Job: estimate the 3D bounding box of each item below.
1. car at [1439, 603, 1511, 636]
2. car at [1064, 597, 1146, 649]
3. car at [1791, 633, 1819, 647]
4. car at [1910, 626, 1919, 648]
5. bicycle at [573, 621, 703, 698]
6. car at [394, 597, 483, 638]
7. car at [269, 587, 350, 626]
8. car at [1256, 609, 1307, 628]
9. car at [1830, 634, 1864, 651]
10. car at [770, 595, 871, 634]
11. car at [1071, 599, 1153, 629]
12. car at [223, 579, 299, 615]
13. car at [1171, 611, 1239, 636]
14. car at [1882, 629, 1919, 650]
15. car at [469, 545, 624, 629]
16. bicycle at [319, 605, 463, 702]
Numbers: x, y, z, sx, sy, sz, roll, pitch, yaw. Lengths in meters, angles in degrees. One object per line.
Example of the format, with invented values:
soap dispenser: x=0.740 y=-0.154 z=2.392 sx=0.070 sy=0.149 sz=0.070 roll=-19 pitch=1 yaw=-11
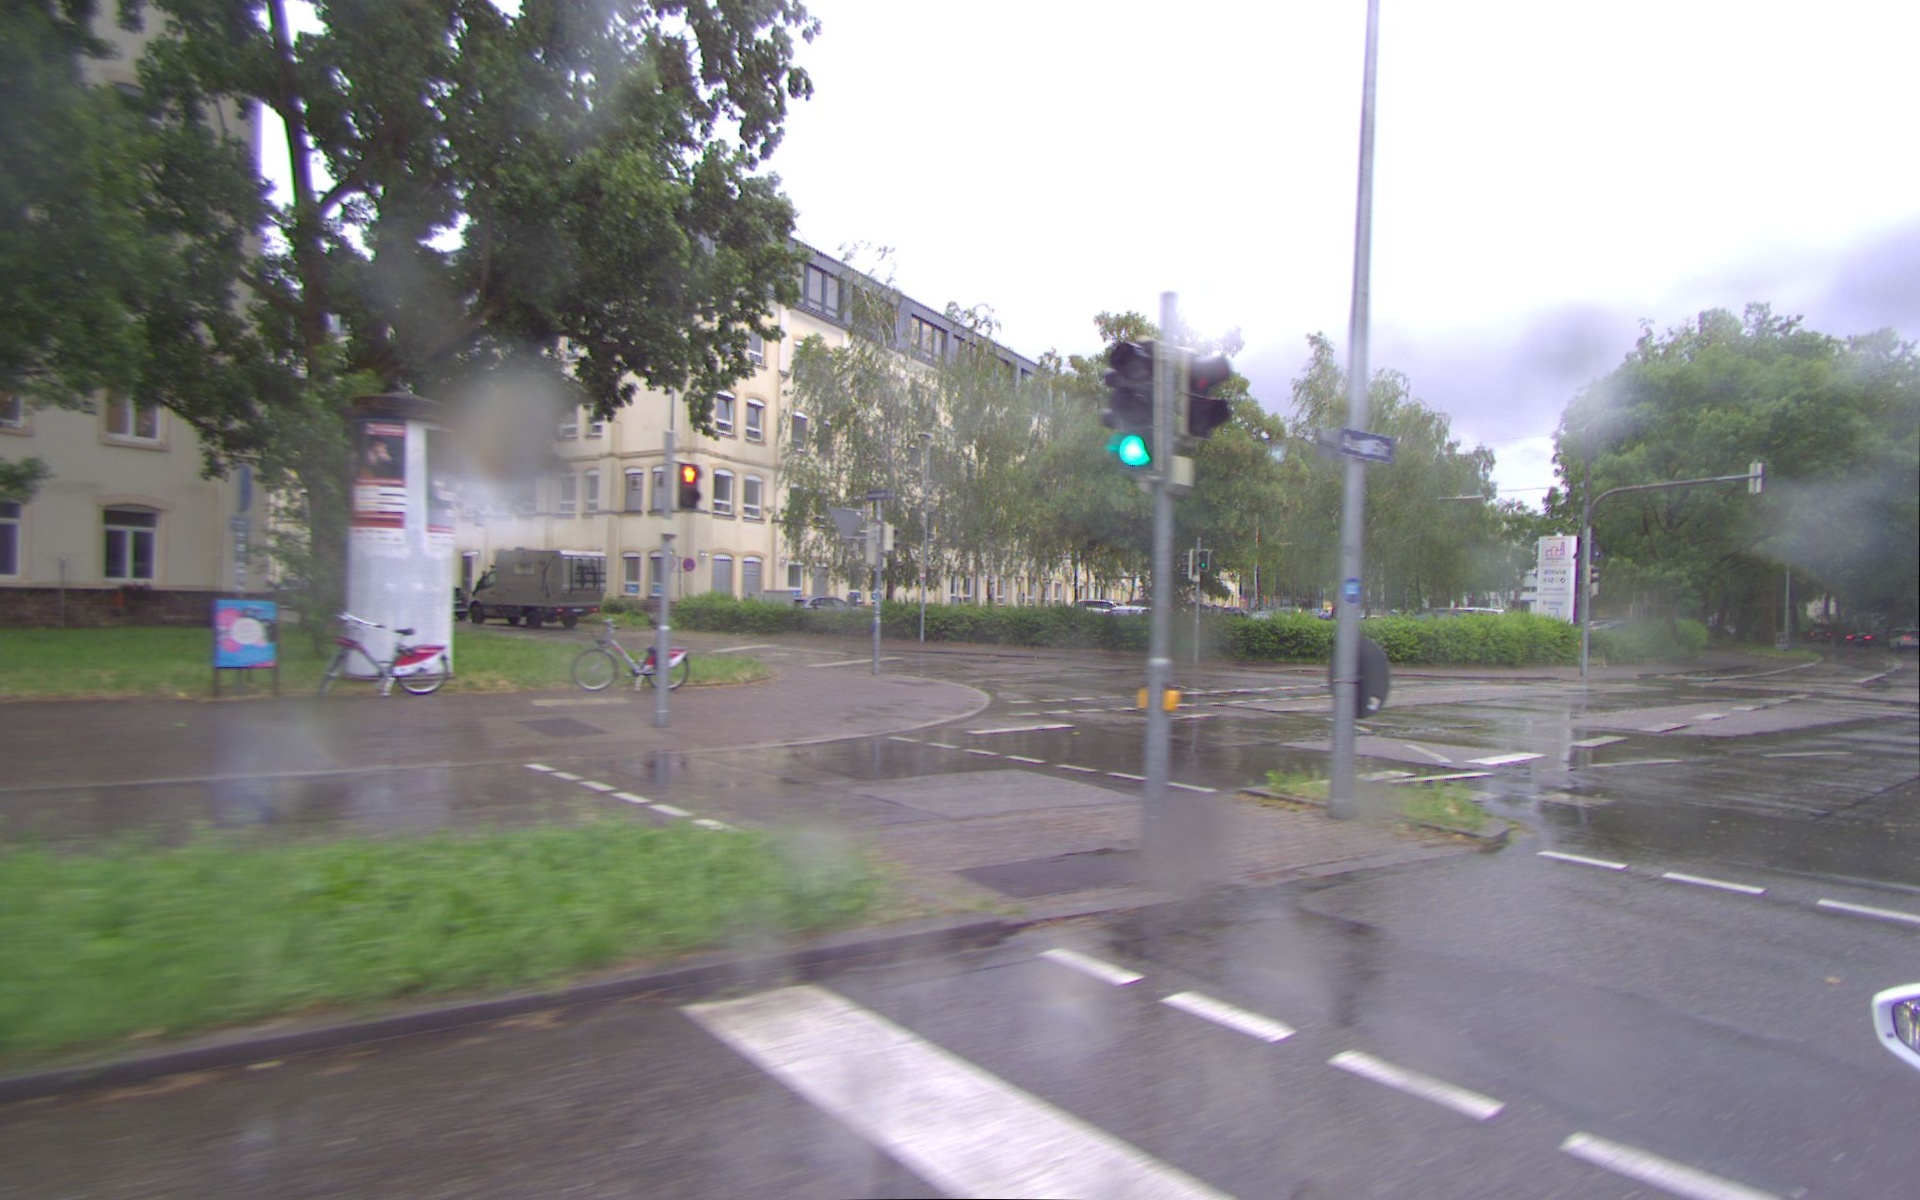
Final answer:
car: x=32.718 y=1.210 z=63.814 sx=3.928 sy=1.857 sz=1.851 roll=3 pitch=1 yaw=30
car: x=5.239 y=0.806 z=36.000 sx=1.749 sy=1.708 sz=4.021 roll=1 pitch=0 yaw=26
car: x=87.592 y=4.114 z=104.133 sx=1.682 sy=1.430 sz=3.635 roll=-1 pitch=-1 yaw=32
car: x=77.189 y=2.916 z=78.657 sx=3.789 sy=1.720 sz=1.838 roll=-1 pitch=0 yaw=5
bicycle: x=-4.860 y=0.888 z=15.203 sx=1.777 sy=1.091 sz=0.552 roll=2 pitch=1 yaw=-34
car: x=-24.173 y=0.772 z=46.536 sx=3.929 sy=1.679 sz=1.890 roll=3 pitch=1 yaw=31
car: x=-33.514 y=0.328 z=51.760 sx=3.930 sy=1.840 sz=1.995 roll=3 pitch=1 yaw=32
car: x=28.457 y=1.626 z=88.789 sx=3.930 sy=1.581 sz=1.996 roll=1 pitch=0 yaw=31
car: x=78.700 y=3.743 z=89.177 sx=1.682 sy=1.430 sz=3.635 roll=-1 pitch=-1 yaw=32
car: x=-6.059 y=0.629 z=44.131 sx=1.965 sy=1.520 sz=4.522 roll=3 pitch=1 yaw=32
car: x=8.261 y=0.767 z=54.718 sx=3.929 sy=1.539 sz=1.996 roll=1 pitch=0 yaw=31
car: x=-38.144 y=-0.166 z=54.805 sx=3.930 sy=1.840 sz=1.995 roll=3 pitch=1 yaw=32
car: x=16.434 y=1.573 z=67.361 sx=3.930 sy=1.580 sz=2.160 roll=1 pitch=0 yaw=31
car: x=67.450 y=2.783 z=71.717 sx=1.682 sy=1.430 sz=3.635 roll=-1 pitch=-1 yaw=32
car: x=-17.308 y=-0.566 z=41.996 sx=6.106 sy=3.236 sz=2.833 roll=3 pitch=1 yaw=31
bicycle: x=-7.576 y=0.694 z=13.402 sx=1.607 sy=1.202 sz=0.693 roll=2 pitch=1 yaw=-34
